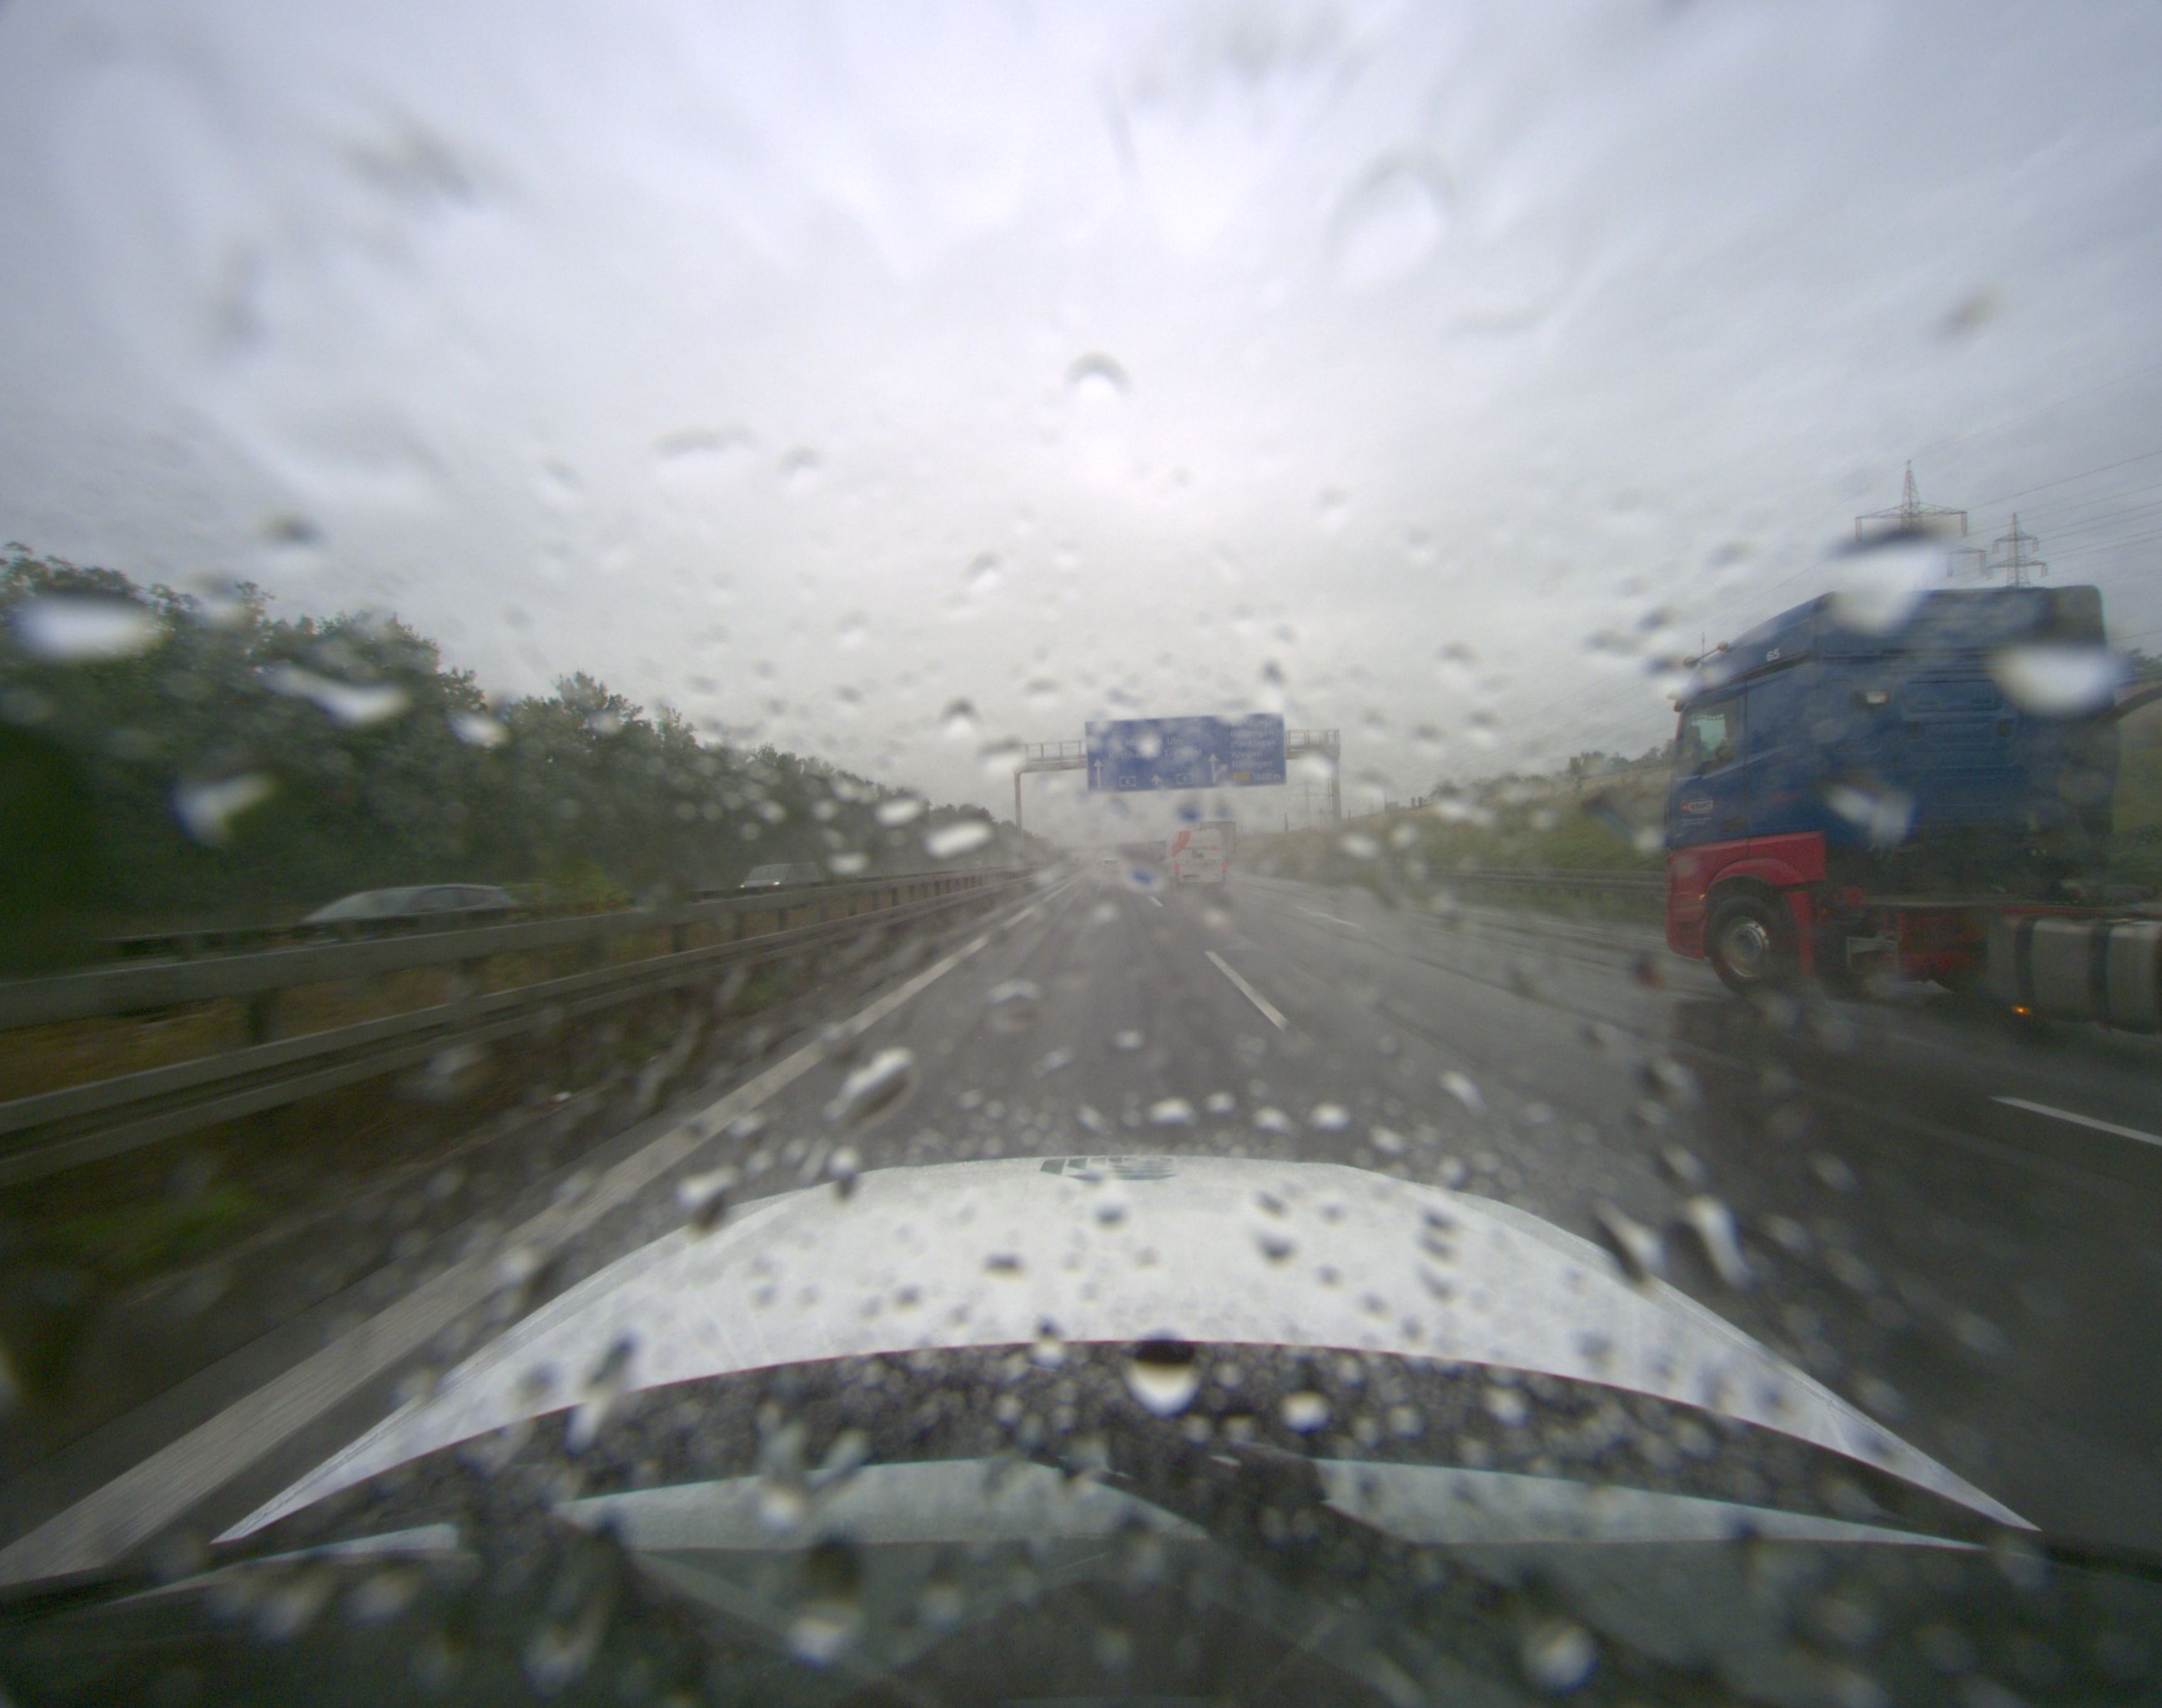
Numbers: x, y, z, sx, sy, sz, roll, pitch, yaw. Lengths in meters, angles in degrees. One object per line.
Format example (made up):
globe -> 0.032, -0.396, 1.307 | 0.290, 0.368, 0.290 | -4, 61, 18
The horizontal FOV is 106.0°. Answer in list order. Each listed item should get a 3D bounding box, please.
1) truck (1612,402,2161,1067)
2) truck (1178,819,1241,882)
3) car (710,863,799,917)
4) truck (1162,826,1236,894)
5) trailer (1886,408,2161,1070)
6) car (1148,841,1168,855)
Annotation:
truck -> 7.687, -0.756, 7.410 | 2.488, 3.983, 5.077 | -1, 0, 1
truck -> 10.412, -0.216, 68.077 | 3.029, 4.588, 16.354 | -1, 0, 1
car -> -14.585, 1.537, 36.719 | 2.025, 2.173, 4.667 | -1, 1, 1
truck -> 4.673, 0.202, 33.089 | 2.410, 2.492, 5.564 | -1, 1, 3
trailer -> 7.486, -0.642, 0.908 | 2.488, 3.882, 11.070 | -1, 1, 1
car -> 11.894, -0.964, 126.620 | 2.778, 2.013, 4.995 | -1, 1, 2
